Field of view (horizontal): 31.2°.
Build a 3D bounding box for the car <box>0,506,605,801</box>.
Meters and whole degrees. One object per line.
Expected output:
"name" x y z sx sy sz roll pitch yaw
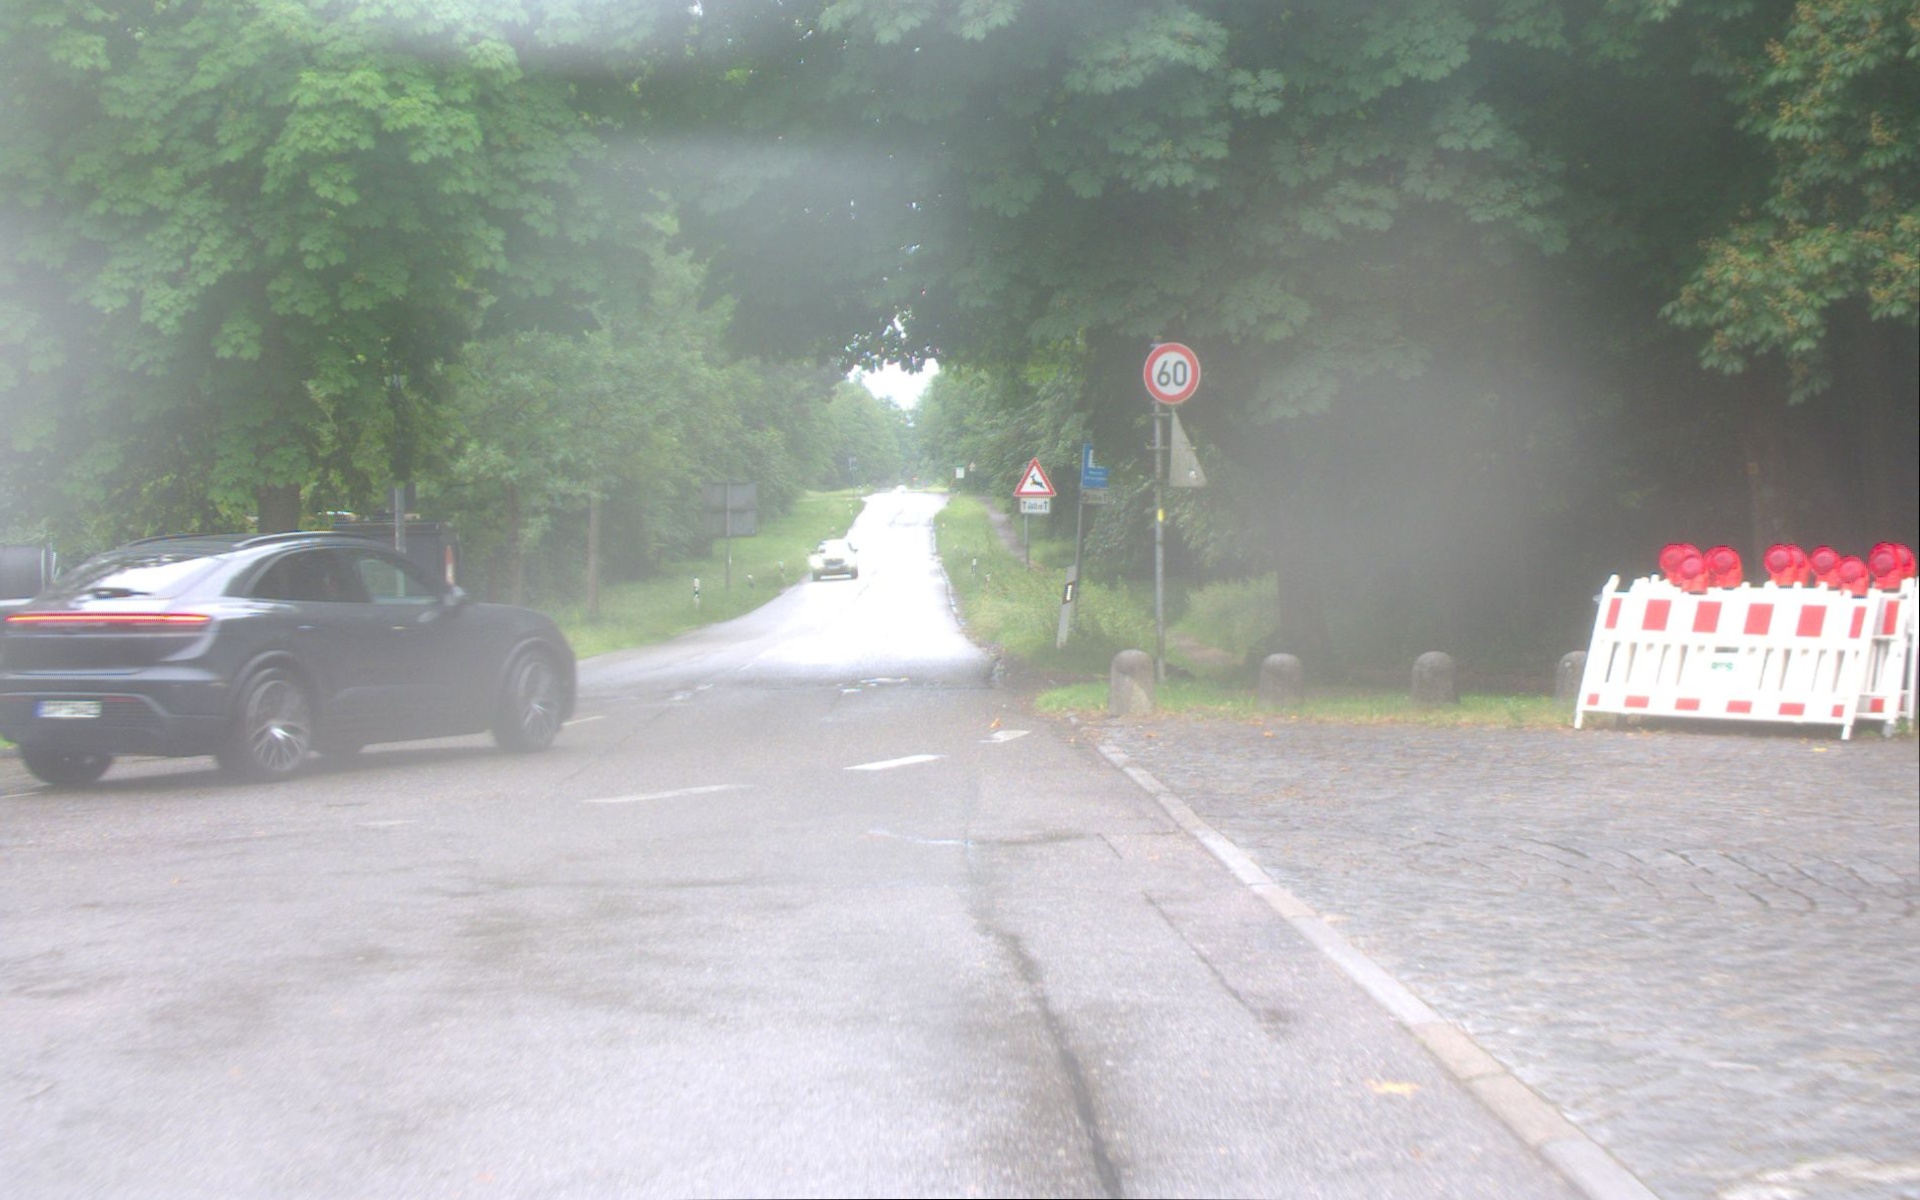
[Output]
"car" -4.513 0.296 23.595 1.728 1.703 4.568 -1 2 30
